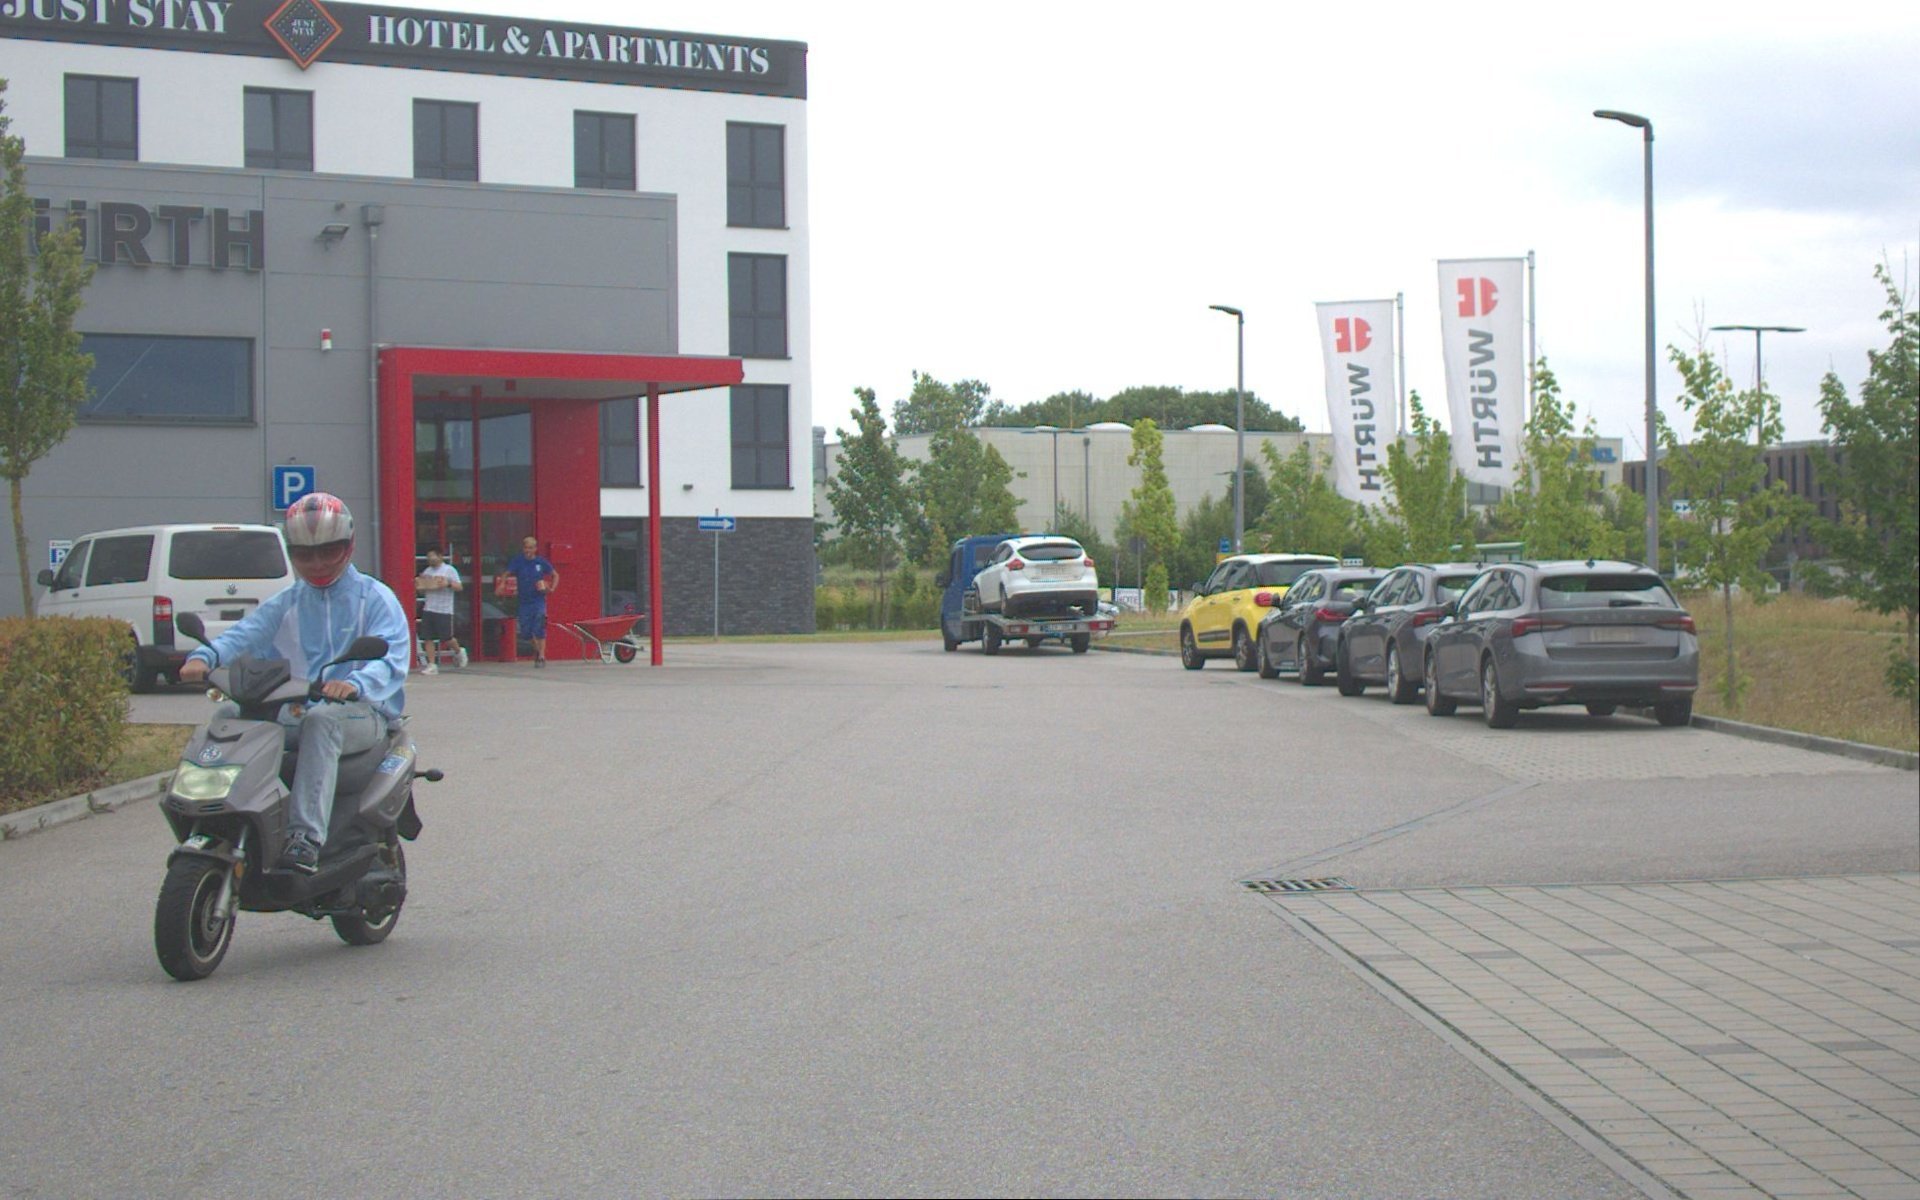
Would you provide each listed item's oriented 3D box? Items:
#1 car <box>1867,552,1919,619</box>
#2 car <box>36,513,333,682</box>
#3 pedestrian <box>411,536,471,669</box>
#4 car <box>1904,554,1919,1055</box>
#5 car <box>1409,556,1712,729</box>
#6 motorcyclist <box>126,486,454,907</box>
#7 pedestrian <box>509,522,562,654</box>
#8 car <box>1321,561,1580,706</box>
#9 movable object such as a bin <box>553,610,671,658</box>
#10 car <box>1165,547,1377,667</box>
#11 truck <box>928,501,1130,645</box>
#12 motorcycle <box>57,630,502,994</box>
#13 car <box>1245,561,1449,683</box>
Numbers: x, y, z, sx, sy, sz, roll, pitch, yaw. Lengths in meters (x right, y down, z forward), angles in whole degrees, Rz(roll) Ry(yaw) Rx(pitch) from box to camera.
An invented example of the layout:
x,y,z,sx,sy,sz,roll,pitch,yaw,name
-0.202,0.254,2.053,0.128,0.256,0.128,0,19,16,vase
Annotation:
x,y,z,sx,sy,sz,roll,pitch,yaw,name
23.402,-0.359,81.027,1.796,1.546,4.856,-2,1,-13,car
-9.390,-0.023,41.405,2.055,1.849,4.061,-3,1,-34,car
-6.911,0.028,45.816,0.624,1.745,0.905,-1,0,2,pedestrian
4.798,0.574,9.159,4.061,1.454,1.776,-1,1,1,car
5.369,0.341,31.296,1.751,1.464,4.476,0,0,-3,car
-2.453,0.343,12.665,0.828,1.484,0.940,-1,0,16,motorcyclist
-5.843,-0.173,47.371,0.676,1.796,0.880,-1,0,-5,pedestrian
5.195,0.322,36.985,1.751,1.464,4.477,0,0,-6,car
-5.116,0.497,50.552,1.488,0.701,0.965,0,0,-25,movable object such as a bin
4.448,0.103,49.780,1.856,1.644,4.001,1,0,-14,car
1.217,-0.442,66.173,2.331,2.398,7.897,1,-2,-10,truck
-2.456,0.731,12.671,0.793,1.204,1.920,-1,0,17,motorcycle
4.822,0.248,43.369,1.751,1.464,4.108,0,0,-5,car
